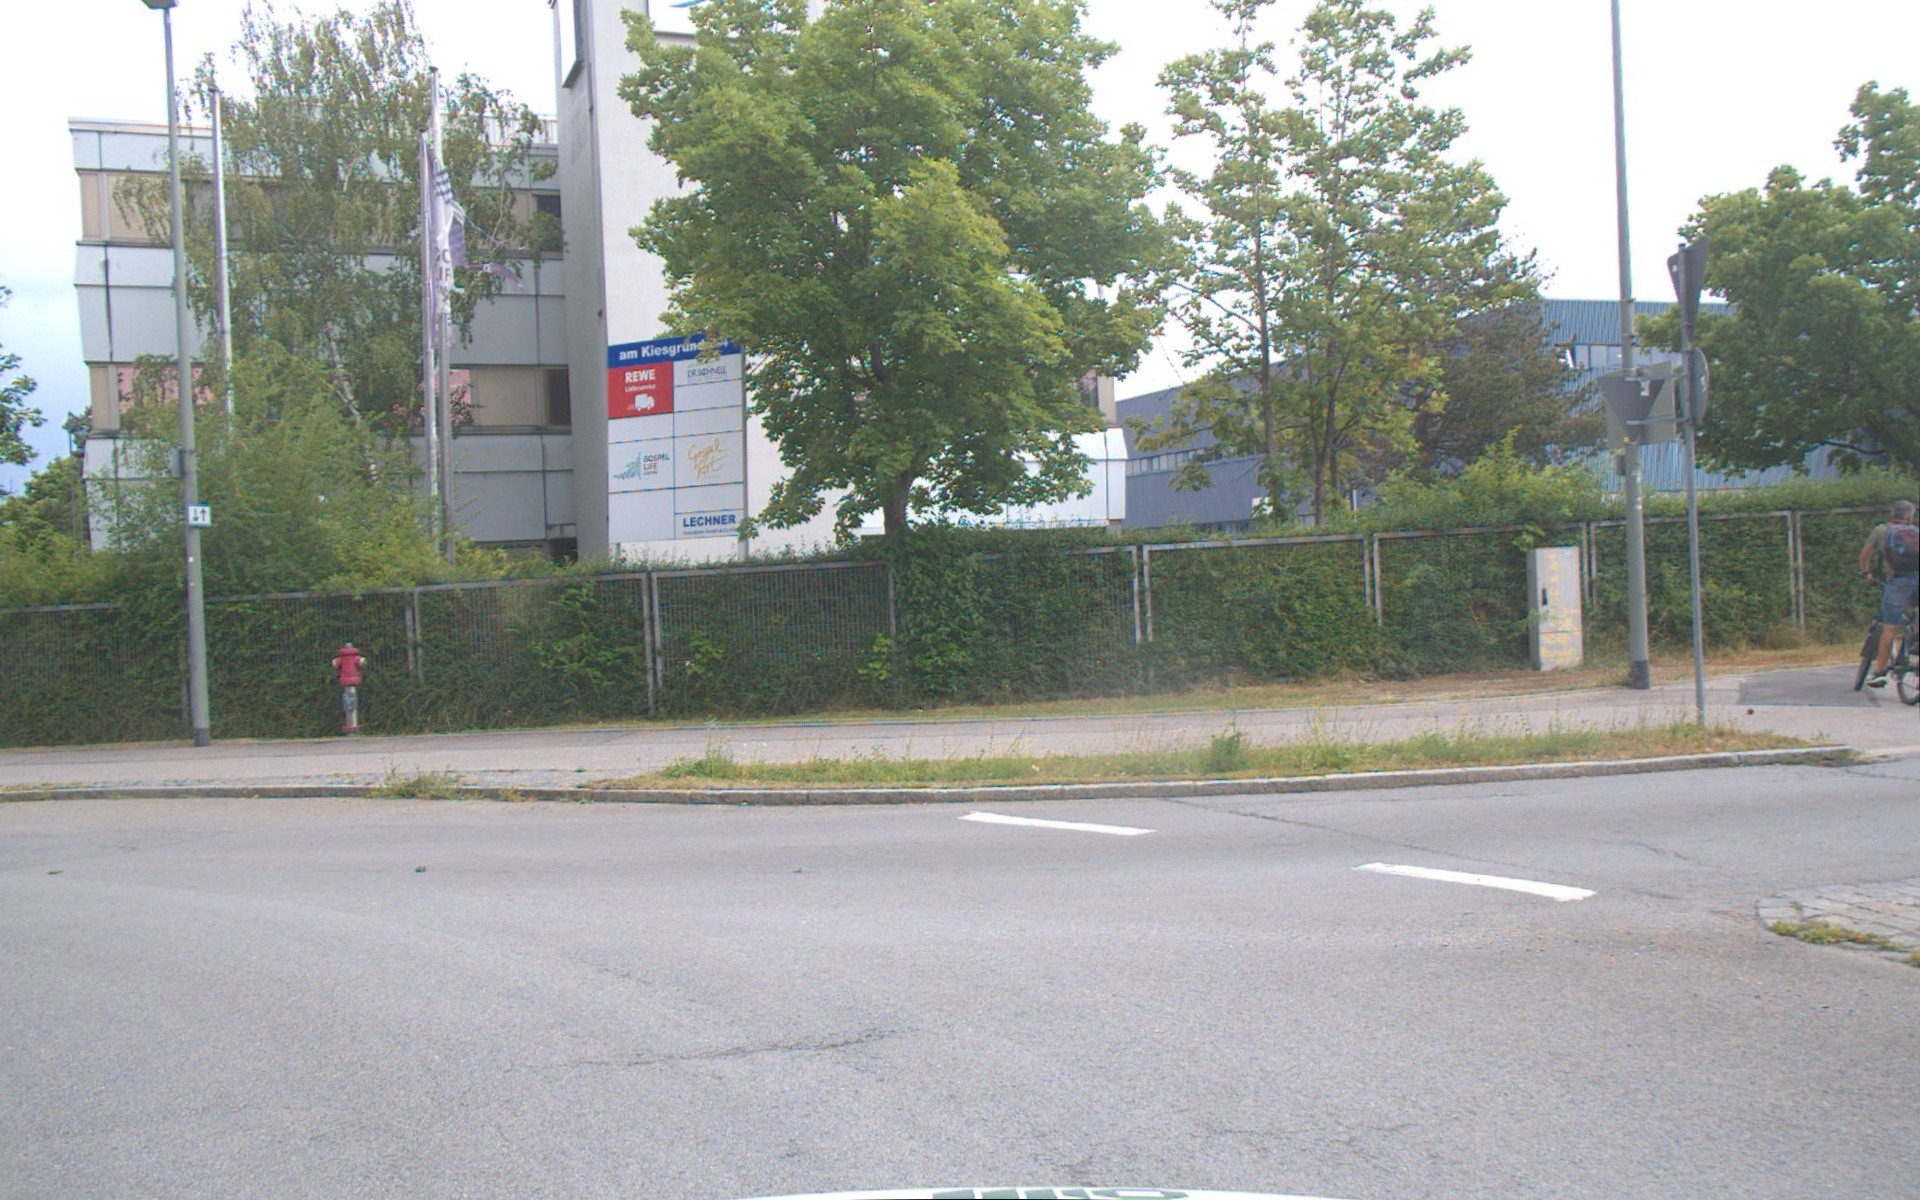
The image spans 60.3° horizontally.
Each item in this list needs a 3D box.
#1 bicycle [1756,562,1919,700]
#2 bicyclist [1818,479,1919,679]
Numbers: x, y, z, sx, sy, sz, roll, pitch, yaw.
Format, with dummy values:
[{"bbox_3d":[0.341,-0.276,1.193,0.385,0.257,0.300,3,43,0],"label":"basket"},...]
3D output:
[{"bbox_3d":[8.490,0.254,15.183,0.755,1.107,2.499,-3,3,-12],"label":"bicycle"},{"bbox_3d":[8.451,-0.215,15.112,0.645,1.752,0.916,-3,3,-13],"label":"bicyclist"}]
